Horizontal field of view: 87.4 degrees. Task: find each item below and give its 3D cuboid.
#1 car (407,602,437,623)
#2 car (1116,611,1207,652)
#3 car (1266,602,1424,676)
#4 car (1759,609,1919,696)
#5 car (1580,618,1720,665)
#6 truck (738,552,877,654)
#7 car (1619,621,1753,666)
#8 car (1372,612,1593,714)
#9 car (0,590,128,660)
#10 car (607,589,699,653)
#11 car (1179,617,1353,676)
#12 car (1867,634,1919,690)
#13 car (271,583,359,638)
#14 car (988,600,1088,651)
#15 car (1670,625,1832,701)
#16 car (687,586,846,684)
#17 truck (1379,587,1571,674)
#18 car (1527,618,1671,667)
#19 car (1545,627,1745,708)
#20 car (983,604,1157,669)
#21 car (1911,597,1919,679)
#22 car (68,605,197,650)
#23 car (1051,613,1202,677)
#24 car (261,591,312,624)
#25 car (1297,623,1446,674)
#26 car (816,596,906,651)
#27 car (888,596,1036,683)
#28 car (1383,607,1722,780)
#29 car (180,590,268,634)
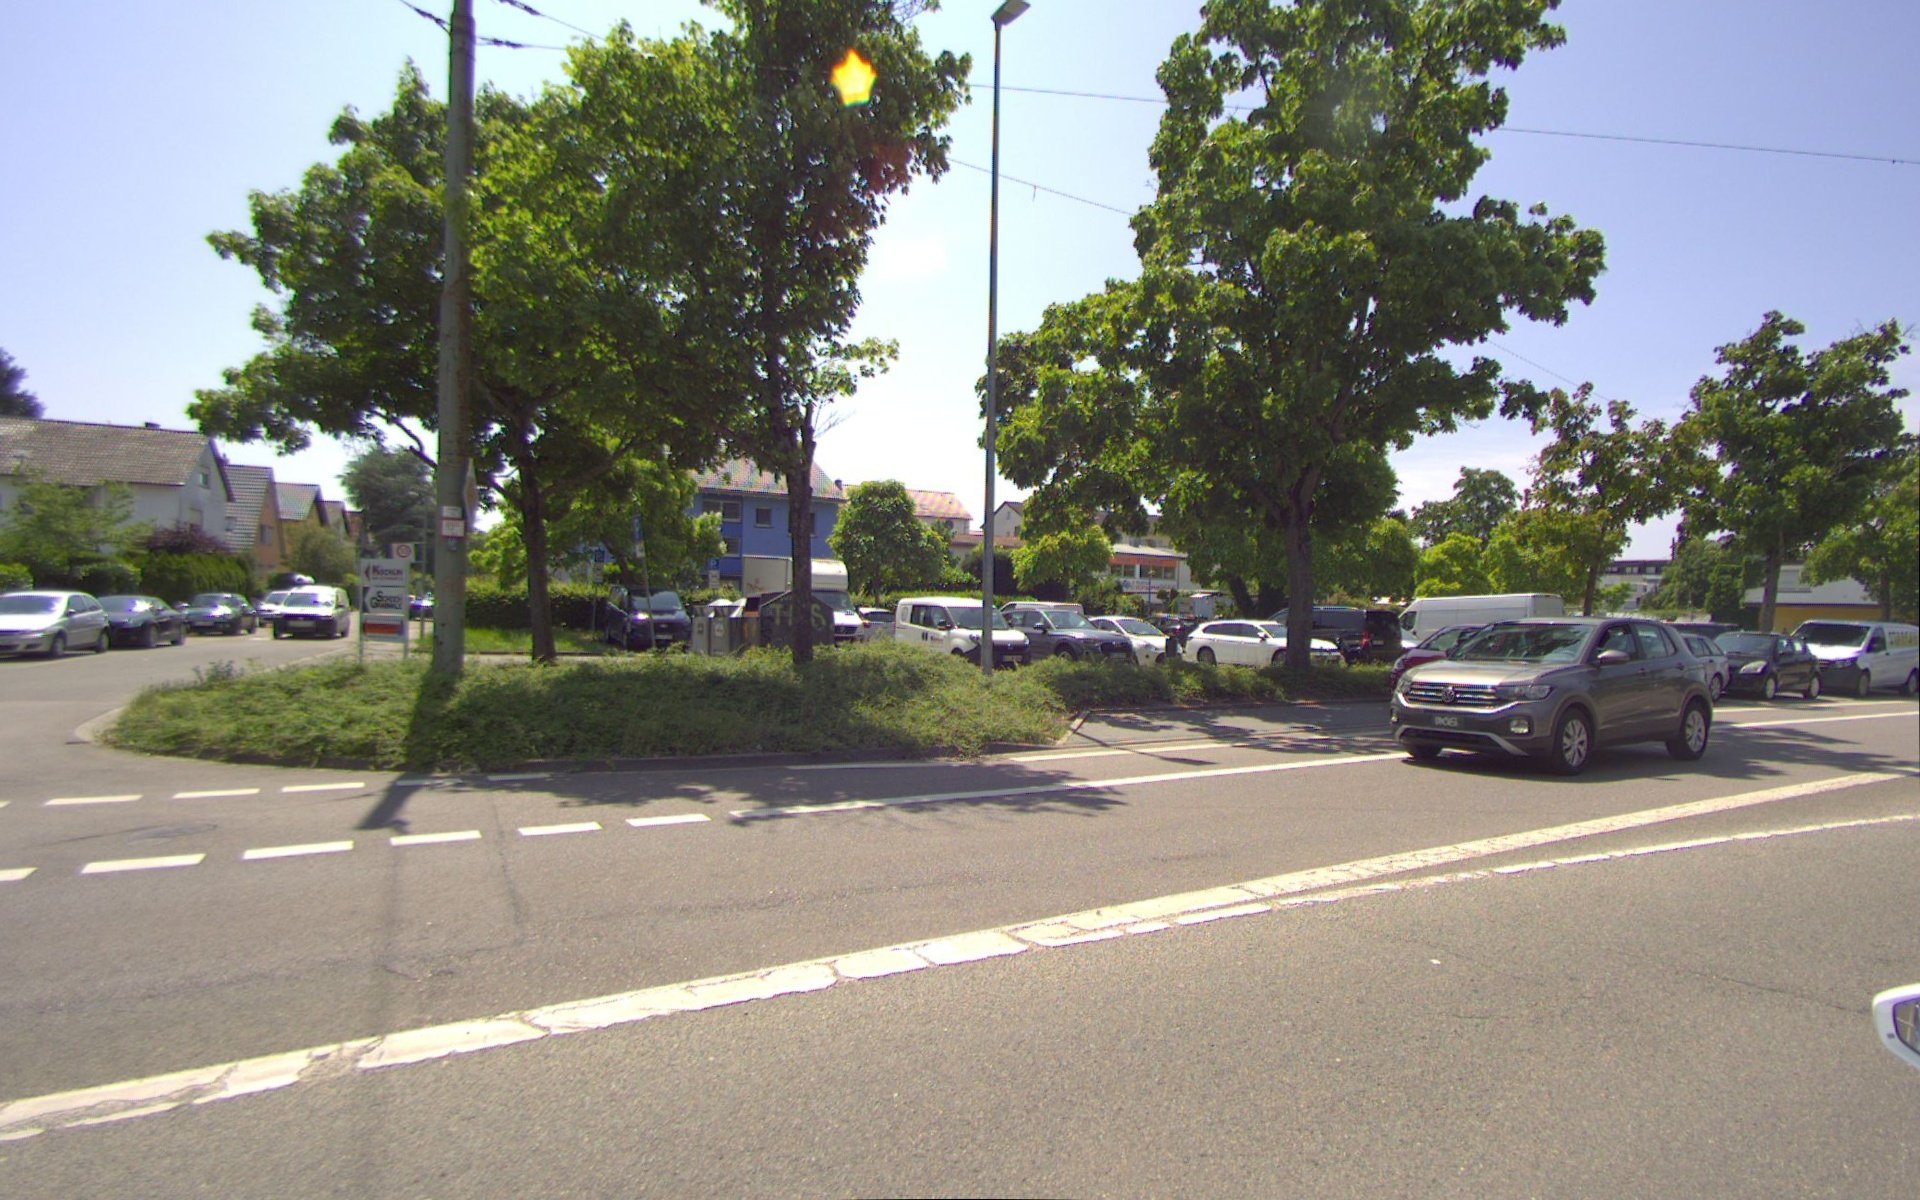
[{"bbox_3d":[-32.460,0.750,60.586,1.527,1.141,3.877,2,-1,-29],"label":"car"},{"bbox_3d":[8.662,1.339,43.533,1.492,1.539,4.106,2,0,-31],"label":"car"},{"bbox_3d":[11.525,1.118,30.331,1.837,2.021,4.185,2,-1,-33],"label":"car"},{"bbox_3d":[23.264,1.360,26.347,4.748,1.963,1.853,2,3,-30],"label":"car"},{"bbox_3d":[30.018,1.773,43.848,1.777,1.837,4.691,2,-1,-32],"label":"car"},{"bbox_3d":[-5.548,0.049,35.457,2.128,3.271,6.936,2,0,-33],"label":"truck"},{"bbox_3d":[33.452,1.979,46.418,1.776,1.837,4.694,2,-1,-31],"label":"car"},{"bbox_3d":[9.166,1.079,17.576,3.683,1.567,1.664,3,1,-30],"label":"car"},{"bbox_3d":[-20.016,0.503,22.036,1.523,1.412,3.887,2,-1,-22],"label":"car"},{"bbox_3d":[-9.977,0.638,32.401,1.916,1.845,4.686,2,0,-29],"label":"car"},{"bbox_3d":[8.898,1.319,29.654,2.036,1.508,4.734,2,-1,-33],"label":"car"},{"bbox_3d":[28.315,1.820,29.517,3.797,1.459,1.397,2,3,-32],"label":"car"},{"bbox_3d":[-21.824,0.350,34.133,1.716,1.729,4.213,2,-1,-22],"label":"car"},{"bbox_3d":[3.073,0.996,40.467,1.949,1.845,4.104,2,0,-32],"label":"car"},{"bbox_3d":[18.515,1.455,23.499,3.740,1.504,1.606,2,3,-30],"label":"car"},{"bbox_3d":[-4.304,0.694,21.738,2.037,1.881,4.426,2,-1,-30],"label":"car"},{"bbox_3d":[17.910,0.987,35.246,2.404,2.796,5.551,2,0,-30],"label":"truck"},{"bbox_3d":[26.255,1.708,41.422,1.777,1.837,4.691,2,-1,-32],"label":"car"},{"bbox_3d":[14.480,1.370,21.155,4.719,1.446,1.709,2,1,-32],"label":"car"},{"bbox_3d":[2.640,0.861,24.969,2.061,1.422,4.168,2,-1,-35],"label":"car"},{"bbox_3d":[34.706,1.410,33.761,6.105,2.692,2.385,2,3,-32],"label":"car"},{"bbox_3d":[-21.685,0.698,26.490,1.523,1.005,3.729,2,0,-22],"label":"car"},{"bbox_3d":[4.419,1.178,27.310,1.909,1.528,4.104,2,-1,-29],"label":"car"},{"bbox_3d":[-29.713,0.304,44.375,1.527,1.347,3.877,2,-1,-29],"label":"car"},{"bbox_3d":[13.291,1.529,32.686,1.837,1.430,4.185,2,-1,-33],"label":"car"},{"bbox_3d":[-3.700,0.829,36.898,1.629,1.845,4.104,2,0,-32],"label":"car"},{"bbox_3d":[-0.062,0.859,23.847,1.653,1.860,4.248,2,-1,-29],"label":"car"},{"bbox_3d":[6.539,0.929,11.010,3.672,1.596,1.728,2,-1,-32],"label":"car"},{"bbox_3d":[-25.301,0.400,34.642,1.524,1.412,3.886,2,-1,-23],"label":"car"}]
